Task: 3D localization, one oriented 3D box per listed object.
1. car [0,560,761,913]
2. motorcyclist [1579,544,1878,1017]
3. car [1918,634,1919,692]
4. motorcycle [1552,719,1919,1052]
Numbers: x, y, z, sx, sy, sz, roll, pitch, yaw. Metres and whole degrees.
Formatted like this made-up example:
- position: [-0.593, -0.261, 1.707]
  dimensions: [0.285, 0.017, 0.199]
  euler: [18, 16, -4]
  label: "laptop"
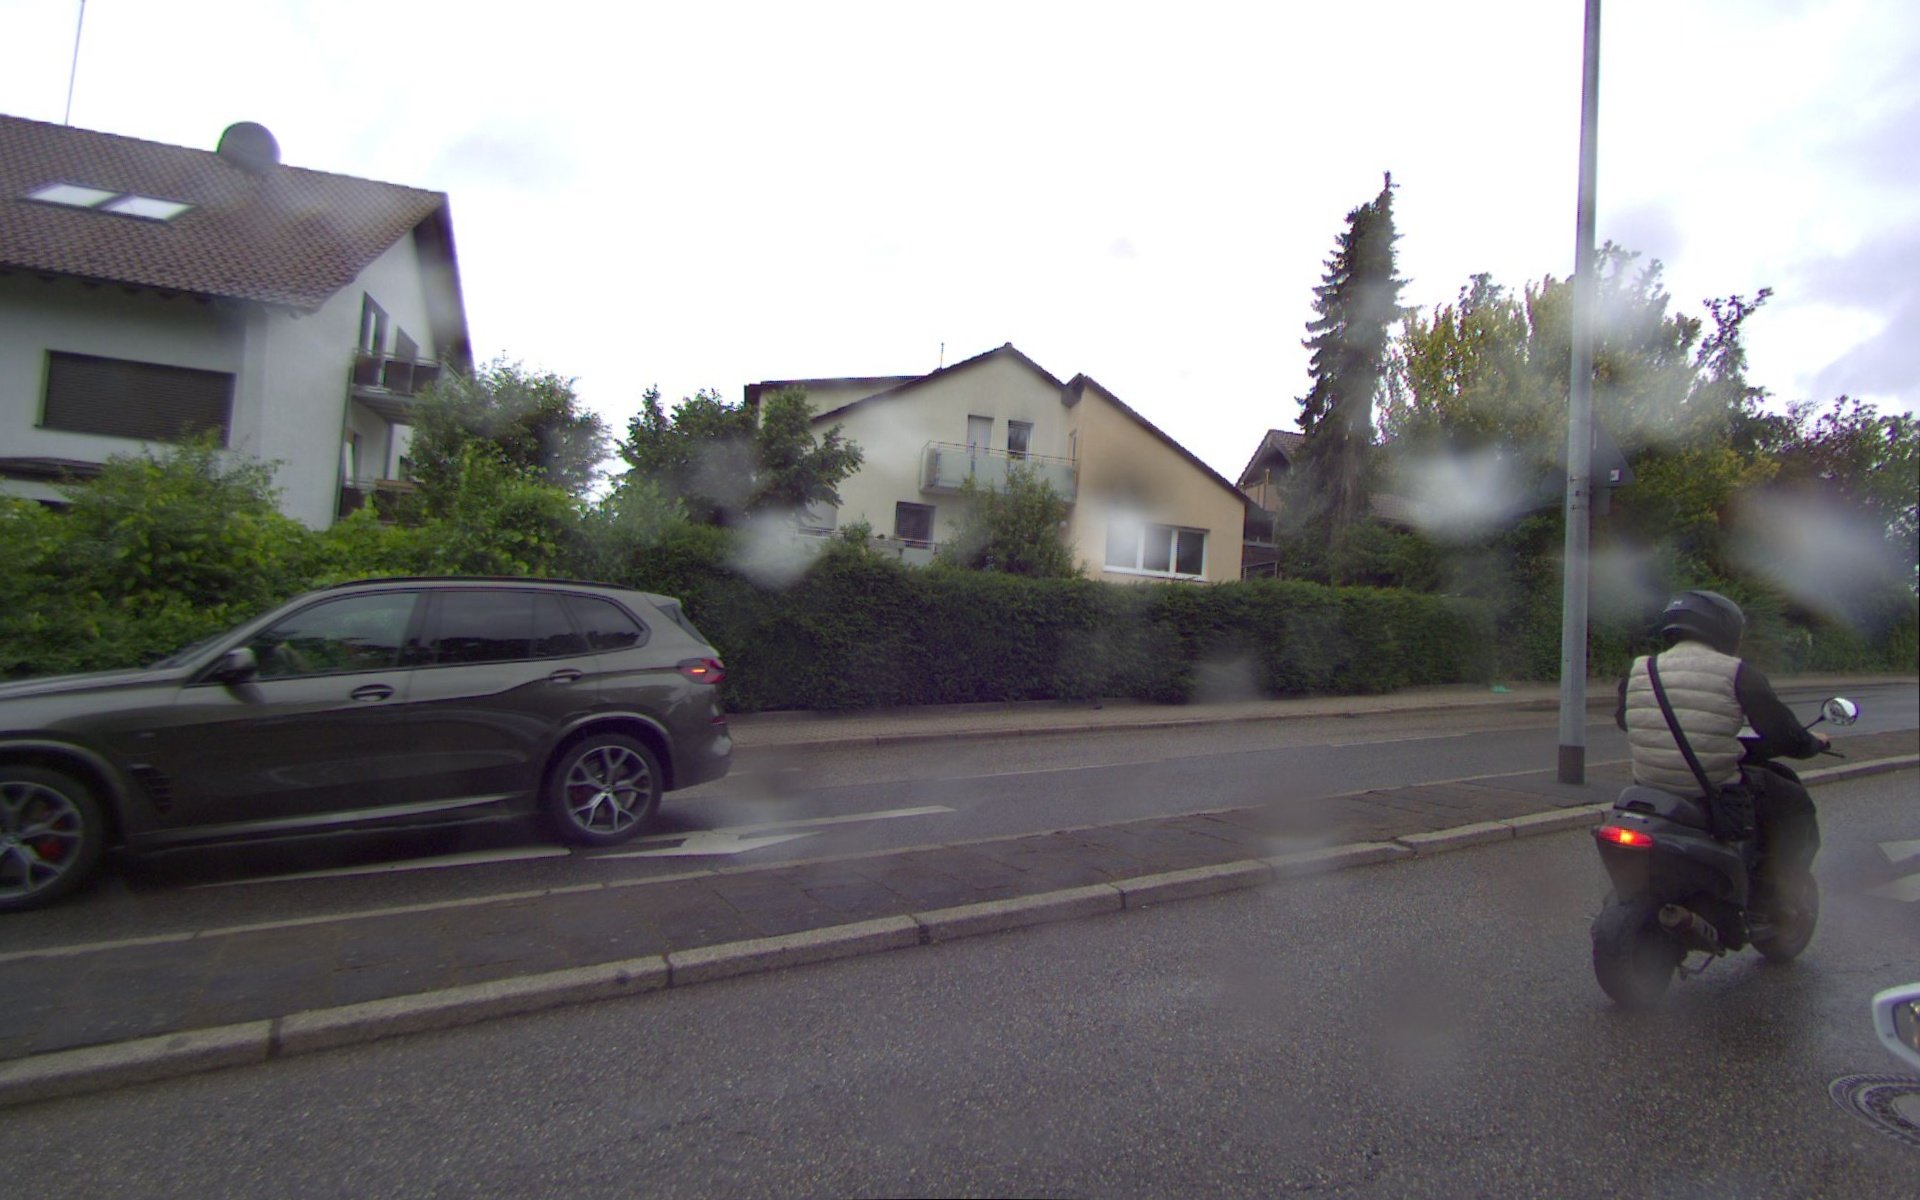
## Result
- position: [-3.895, 0.745, 6.696]
  dimensions: [4.666, 1.739, 1.983]
  euler: [2, -3, -32]
  label: "car"
- position: [3.078, 0.658, 4.060]
  dimensions: [0.666, 1.664, 0.761]
  euler: [2, -3, -30]
  label: "motorcyclist"
- position: [11.008, 1.107, 9.383]
  dimensions: [4.280, 1.547, 1.983]
  euler: [2, -4, -32]
  label: "car"
- position: [3.285, 1.057, 4.167]
  dimensions: [1.727, 1.066, 0.687]
  euler: [3, -3, -31]
  label: "motorcycle"
